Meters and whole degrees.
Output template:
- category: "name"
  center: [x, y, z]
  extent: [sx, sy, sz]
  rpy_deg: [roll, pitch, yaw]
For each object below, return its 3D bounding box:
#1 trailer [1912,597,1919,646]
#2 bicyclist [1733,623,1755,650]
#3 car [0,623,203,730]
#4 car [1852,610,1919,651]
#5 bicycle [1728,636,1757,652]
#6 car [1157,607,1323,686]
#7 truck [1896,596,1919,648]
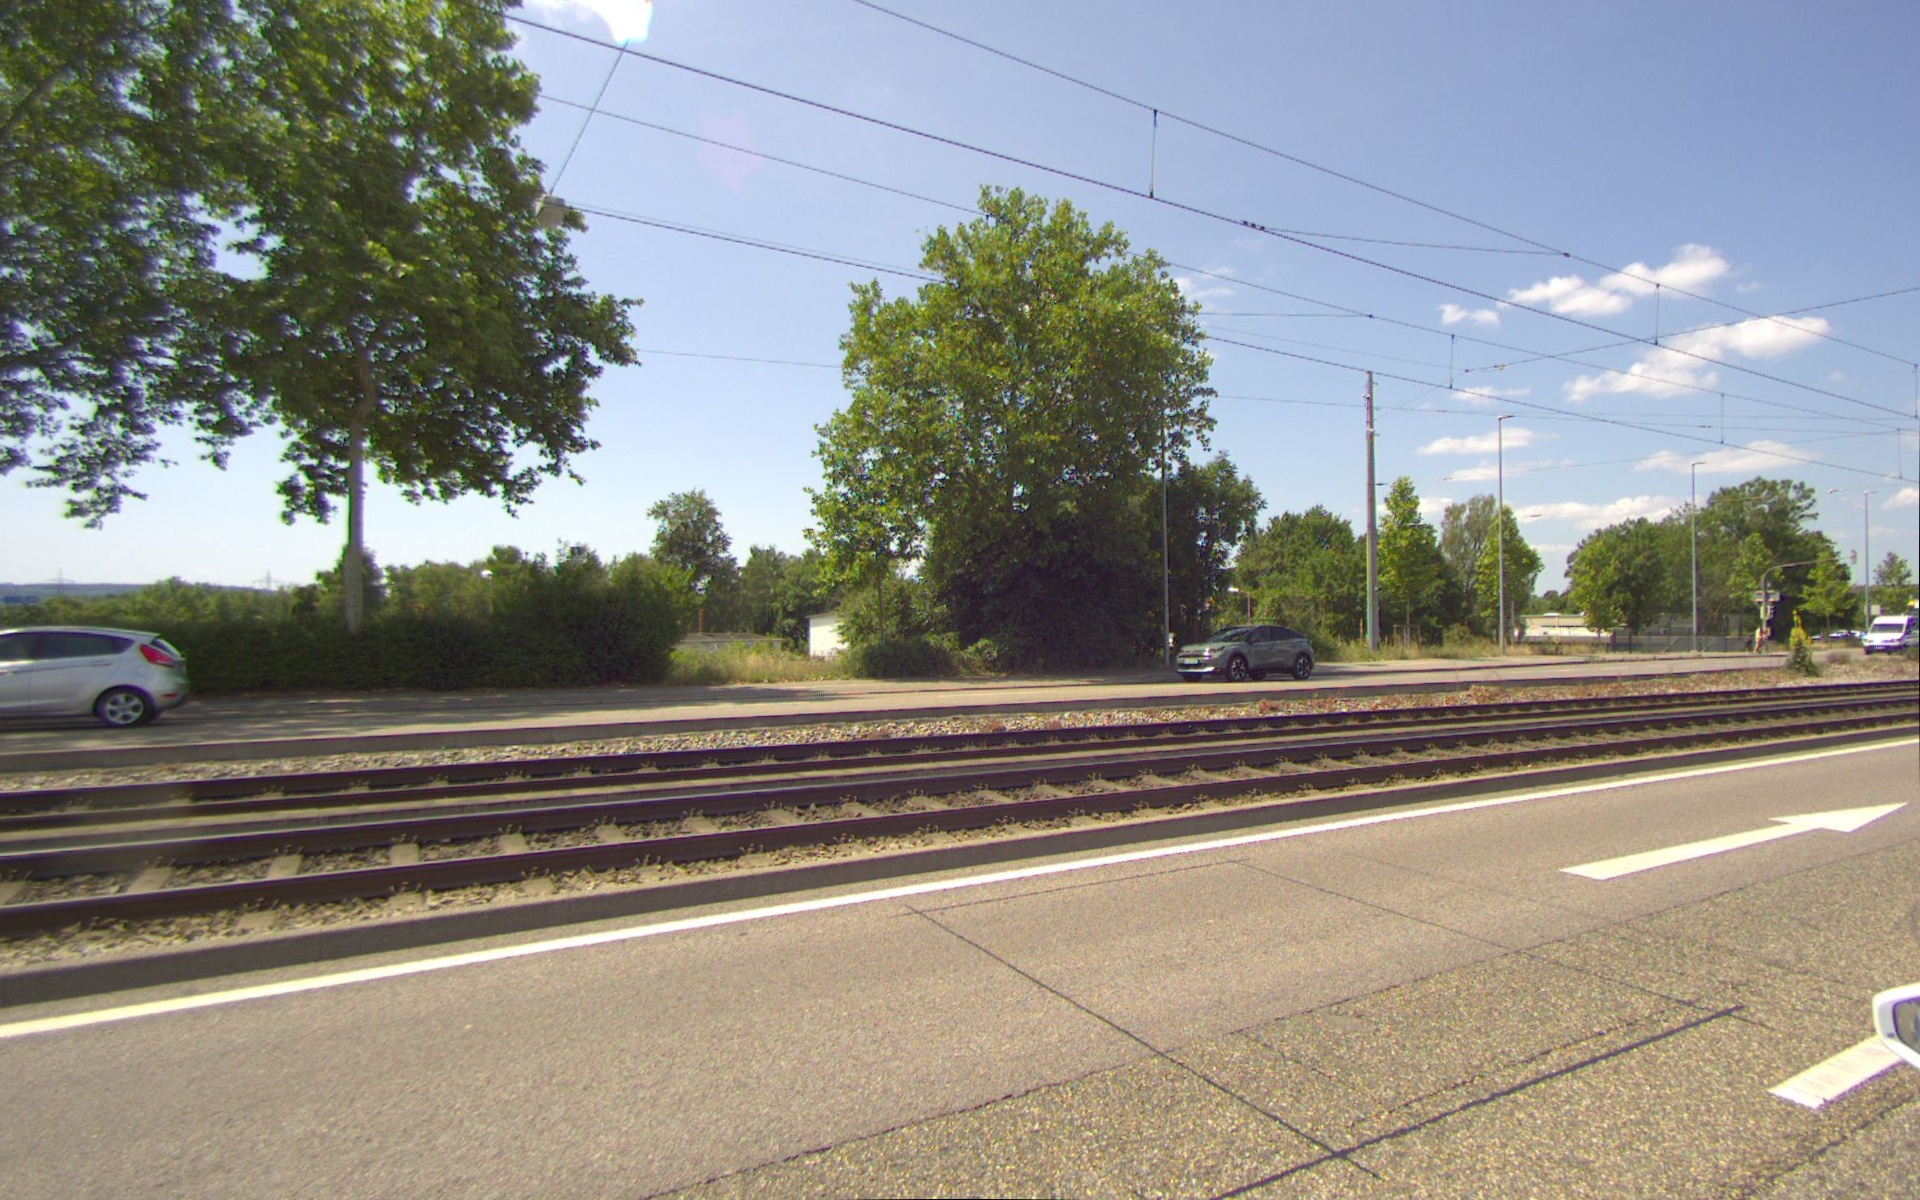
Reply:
- category: "trailer"
  center: [77.046, 1.697, 76.228]
  extent: [15.692, 3.565, 2.753]
  rpy_deg: [1, 0, -31]
- category: "bicyclist"
  center: [53.311, 2.495, 68.299]
  extent: [0.337, 1.798, 1.112]
  rpy_deg: [1, 0, -34]
- category: "car"
  center: [-13.285, 1.068, 14.288]
  extent: [3.841, 1.434, 1.813]
  rpy_deg: [1, -3, -33]
- category: "car"
  center: [62.951, 2.054, 67.859]
  extent: [6.164, 2.623, 2.232]
  rpy_deg: [0, -3, -32]
- category: "bicycle"
  center: [53.294, 2.988, 68.402]
  extent: [0.480, 1.000, 1.482]
  rpy_deg: [1, 0, -33]
- category: "car"
  center: [7.631, 1.194, 27.261]
  extent: [4.364, 1.944, 1.981]
  rpy_deg: [1, 1, -34]
- category: "truck"
  center: [70.436, 1.607, 72.307]
  extent: [6.364, 3.616, 2.754]
  rpy_deg: [1, 0, -30]
